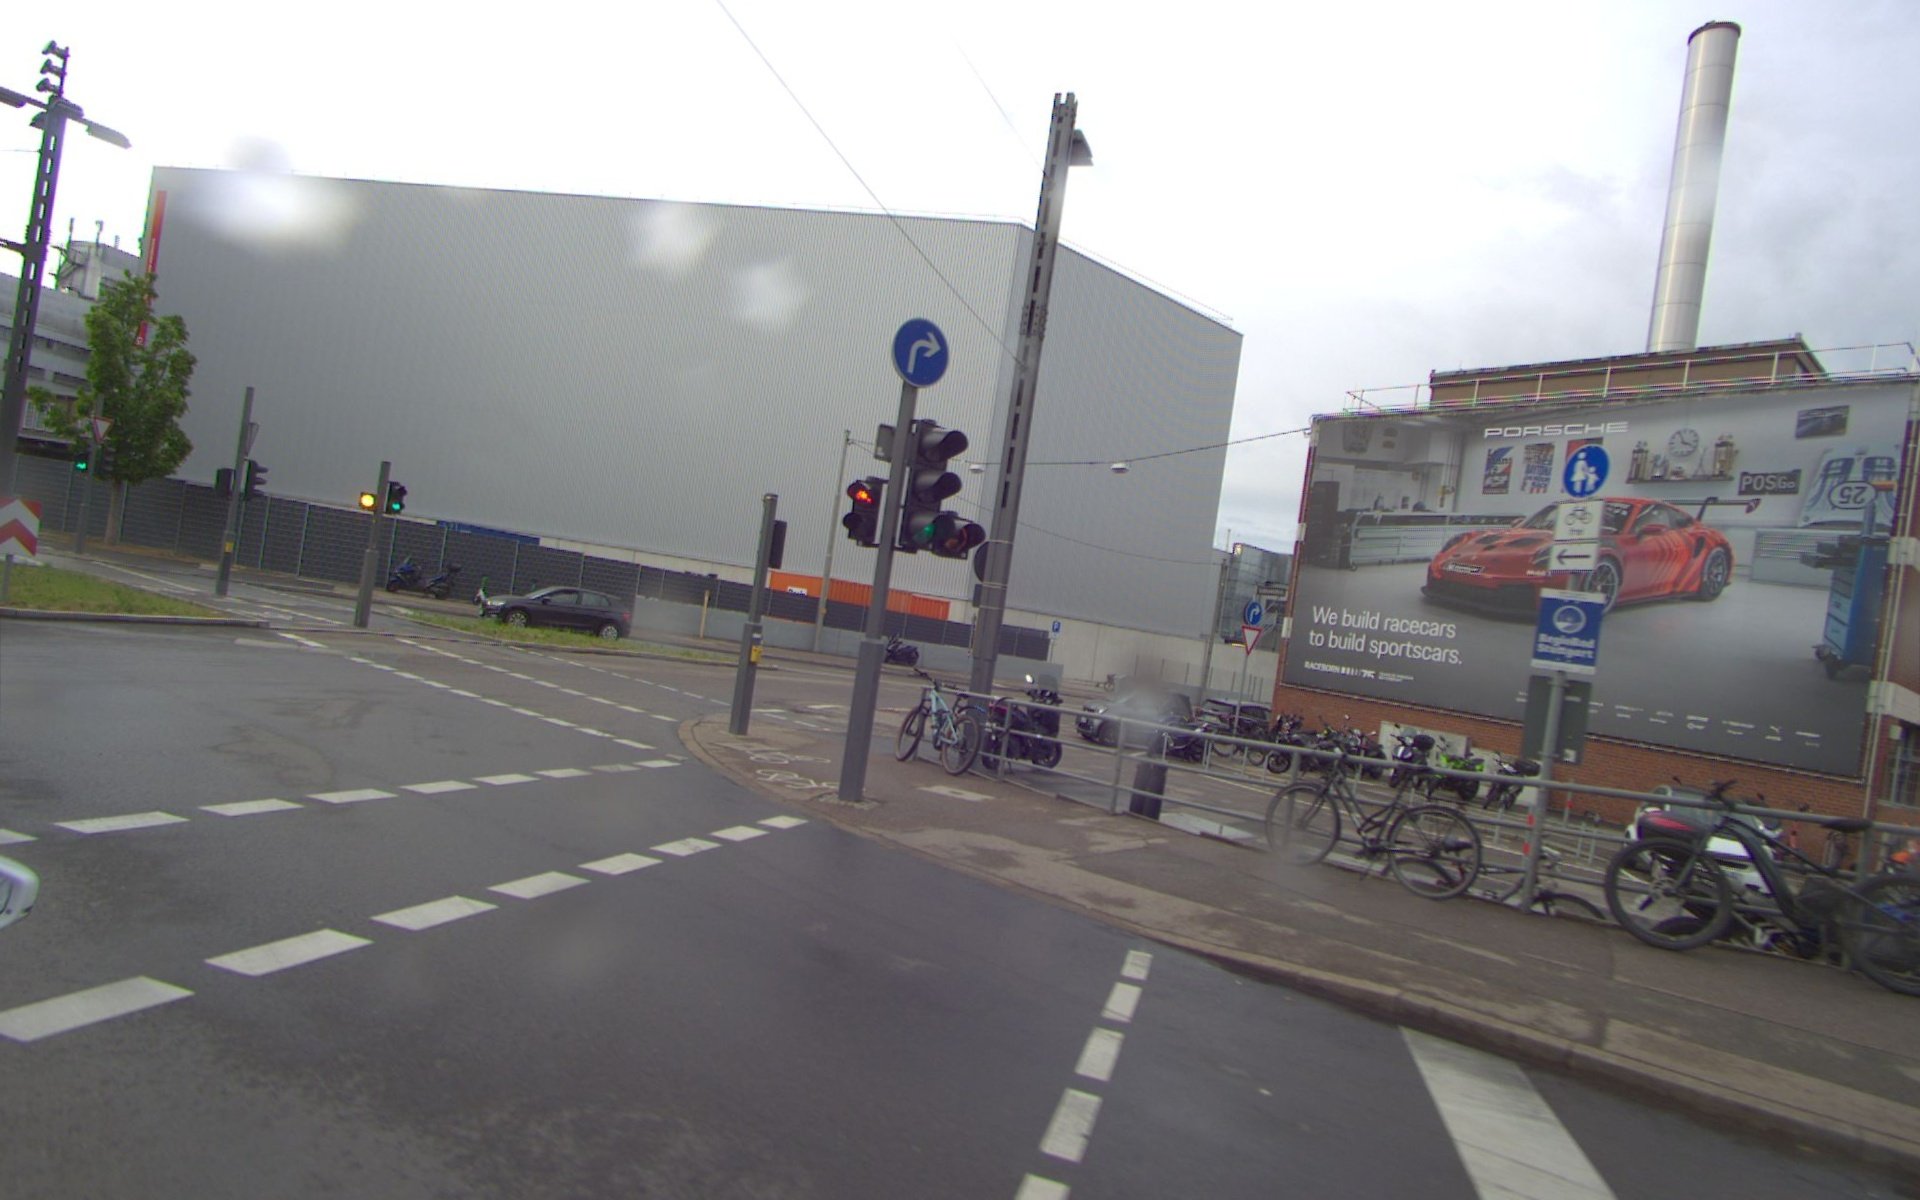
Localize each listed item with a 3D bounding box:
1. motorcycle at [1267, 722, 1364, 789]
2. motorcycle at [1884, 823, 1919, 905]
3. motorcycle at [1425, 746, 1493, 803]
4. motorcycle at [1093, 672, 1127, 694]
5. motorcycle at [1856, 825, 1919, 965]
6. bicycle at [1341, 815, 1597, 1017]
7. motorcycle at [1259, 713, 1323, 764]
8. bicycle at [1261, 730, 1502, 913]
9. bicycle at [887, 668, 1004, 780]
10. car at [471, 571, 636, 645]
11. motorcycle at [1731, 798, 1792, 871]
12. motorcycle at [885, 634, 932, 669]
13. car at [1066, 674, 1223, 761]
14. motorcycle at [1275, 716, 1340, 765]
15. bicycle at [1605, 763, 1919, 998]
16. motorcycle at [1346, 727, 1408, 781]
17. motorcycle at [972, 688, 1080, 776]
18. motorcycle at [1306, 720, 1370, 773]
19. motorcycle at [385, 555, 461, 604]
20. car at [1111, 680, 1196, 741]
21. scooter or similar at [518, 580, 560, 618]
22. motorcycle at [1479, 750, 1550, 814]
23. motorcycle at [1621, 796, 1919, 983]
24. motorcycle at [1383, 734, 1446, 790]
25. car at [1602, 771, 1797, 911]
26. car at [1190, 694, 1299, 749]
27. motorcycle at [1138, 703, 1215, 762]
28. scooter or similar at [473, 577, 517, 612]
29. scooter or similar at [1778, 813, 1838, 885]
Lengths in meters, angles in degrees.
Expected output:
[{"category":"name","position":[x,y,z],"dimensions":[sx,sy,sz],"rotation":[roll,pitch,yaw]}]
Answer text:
[{"category":"motorcycle","position":[7.534,3.288,21.393],"dimensions":[0.541,1.123,1.846],"rotation":[9,-4,-39]},{"category":"motorcycle","position":[17.655,4.802,17.908],"dimensions":[1.638,1.348,0.525],"rotation":[6,-2,14]},{"category":"motorcycle","position":[11.244,3.938,22.659],"dimensions":[1.793,1.132,0.473],"rotation":[9,-3,-34]},{"category":"motorcycle","position":[9.121,5.039,61.123],"dimensions":[0.623,1.087,1.903],"rotation":[9,-2,-44]},{"category":"motorcycle","position":[7.334,2.195,7.210],"dimensions":[1.240,0.900,0.435],"rotation":[6,-2,16]},{"category":"bicycle","position":[3.979,2.431,7.989],"dimensions":[0.345,1.096,1.724],"rotation":[7,-2,-42]},{"category":"motorcycle","position":[8.967,3.744,27.301],"dimensions":[0.539,1.132,1.590],"rotation":[8,-3,-31]},{"category":"bicycle","position":[3.338,1.722,8.115],"dimensions":[0.345,1.096,1.724],"rotation":[7,-2,-42]},{"category":"bicycle","position":[-0.227,1.510,12.596],"dimensions":[0.417,1.142,2.060],"rotation":[8,-3,-28]},{"category":"car","position":[-11.555,0.242,28.690],"dimensions":[3.968,1.441,1.704],"rotation":[10,-3,-36]},{"category":"motorcycle","position":[15.562,4.523,19.567],"dimensions":[0.575,1.164,1.720],"rotation":[5,-4,29]},{"category":"motorcycle","position":[-2.473,2.496,48.379],"dimensions":[2.087,1.392,0.648],"rotation":[11,-2,-39]},{"category":"car","position":[4.417,2.816,24.312],"dimensions":[3.195,1.520,1.623],"rotation":[9,-2,-11]},{"category":"motorcycle","position":[9.584,3.863,27.787],"dimensions":[0.539,1.123,1.636],"rotation":[8,-3,-31]},{"category":"bicycle","position":[5.547,1.845,6.700],"dimensions":[1.979,1.188,0.400],"rotation":[6,-1,24]},{"category":"motorcycle","position":[10.264,3.797,24.749],"dimensions":[1.635,1.193,0.539],"rotation":[9,-3,-36]},{"category":"motorcycle","position":[1.016,1.957,14.875],"dimensions":[0.481,1.158,2.091],"rotation":[5,-4,35]},{"category":"motorcycle","position":[9.765,3.783,25.984],"dimensions":[1.635,1.193,0.669],"rotation":[9,-4,-36]},{"category":"motorcycle","position":[-18.607,-0.704,34.858],"dimensions":[2.087,1.325,0.648],"rotation":[11,-2,-39]},{"category":"car","position":[5.945,3.383,30.716],"dimensions":[1.528,1.509,2.750],"rotation":[10,-2,30]},{"category":"scooter or similar","position":[-15.664,-0.050,37.409],"dimensions":[1.256,1.213,0.422],"rotation":[10,-1,-25]},{"category":"motorcycle","position":[12.249,4.017,22.197],"dimensions":[1.792,1.253,0.539],"rotation":[9,-1,-36]},{"category":"motorcycle","position":[5.890,2.044,7.313],"dimensions":[1.719,0.905,0.546],"rotation":[5,-2,38]},{"category":"motorcycle","position":[10.879,3.875,24.051],"dimensions":[1.699,1.193,0.539],"rotation":[9,-3,-36]},{"category":"car","position":[12.074,3.851,16.714],"dimensions":[1.539,1.505,4.003],"rotation":[8,-3,23]},{"category":"car","position":[9.807,4.188,34.512],"dimensions":[4.080,1.459,1.551],"rotation":[10,-4,-41]},{"category":"motorcycle","position":[4.881,2.988,22.648],"dimensions":[1.706,1.158,0.491],"rotation":[9,-3,-31]},{"category":"scooter or similar","position":[-16.793,-0.201,36.342],"dimensions":[1.249,1.040,0.385],"rotation":[9,-1,-6]},{"category":"scooter or similar","position":[16.153,4.724,19.186],"dimensions":[0.496,1.108,1.638],"rotation":[5,-4,29]}]
